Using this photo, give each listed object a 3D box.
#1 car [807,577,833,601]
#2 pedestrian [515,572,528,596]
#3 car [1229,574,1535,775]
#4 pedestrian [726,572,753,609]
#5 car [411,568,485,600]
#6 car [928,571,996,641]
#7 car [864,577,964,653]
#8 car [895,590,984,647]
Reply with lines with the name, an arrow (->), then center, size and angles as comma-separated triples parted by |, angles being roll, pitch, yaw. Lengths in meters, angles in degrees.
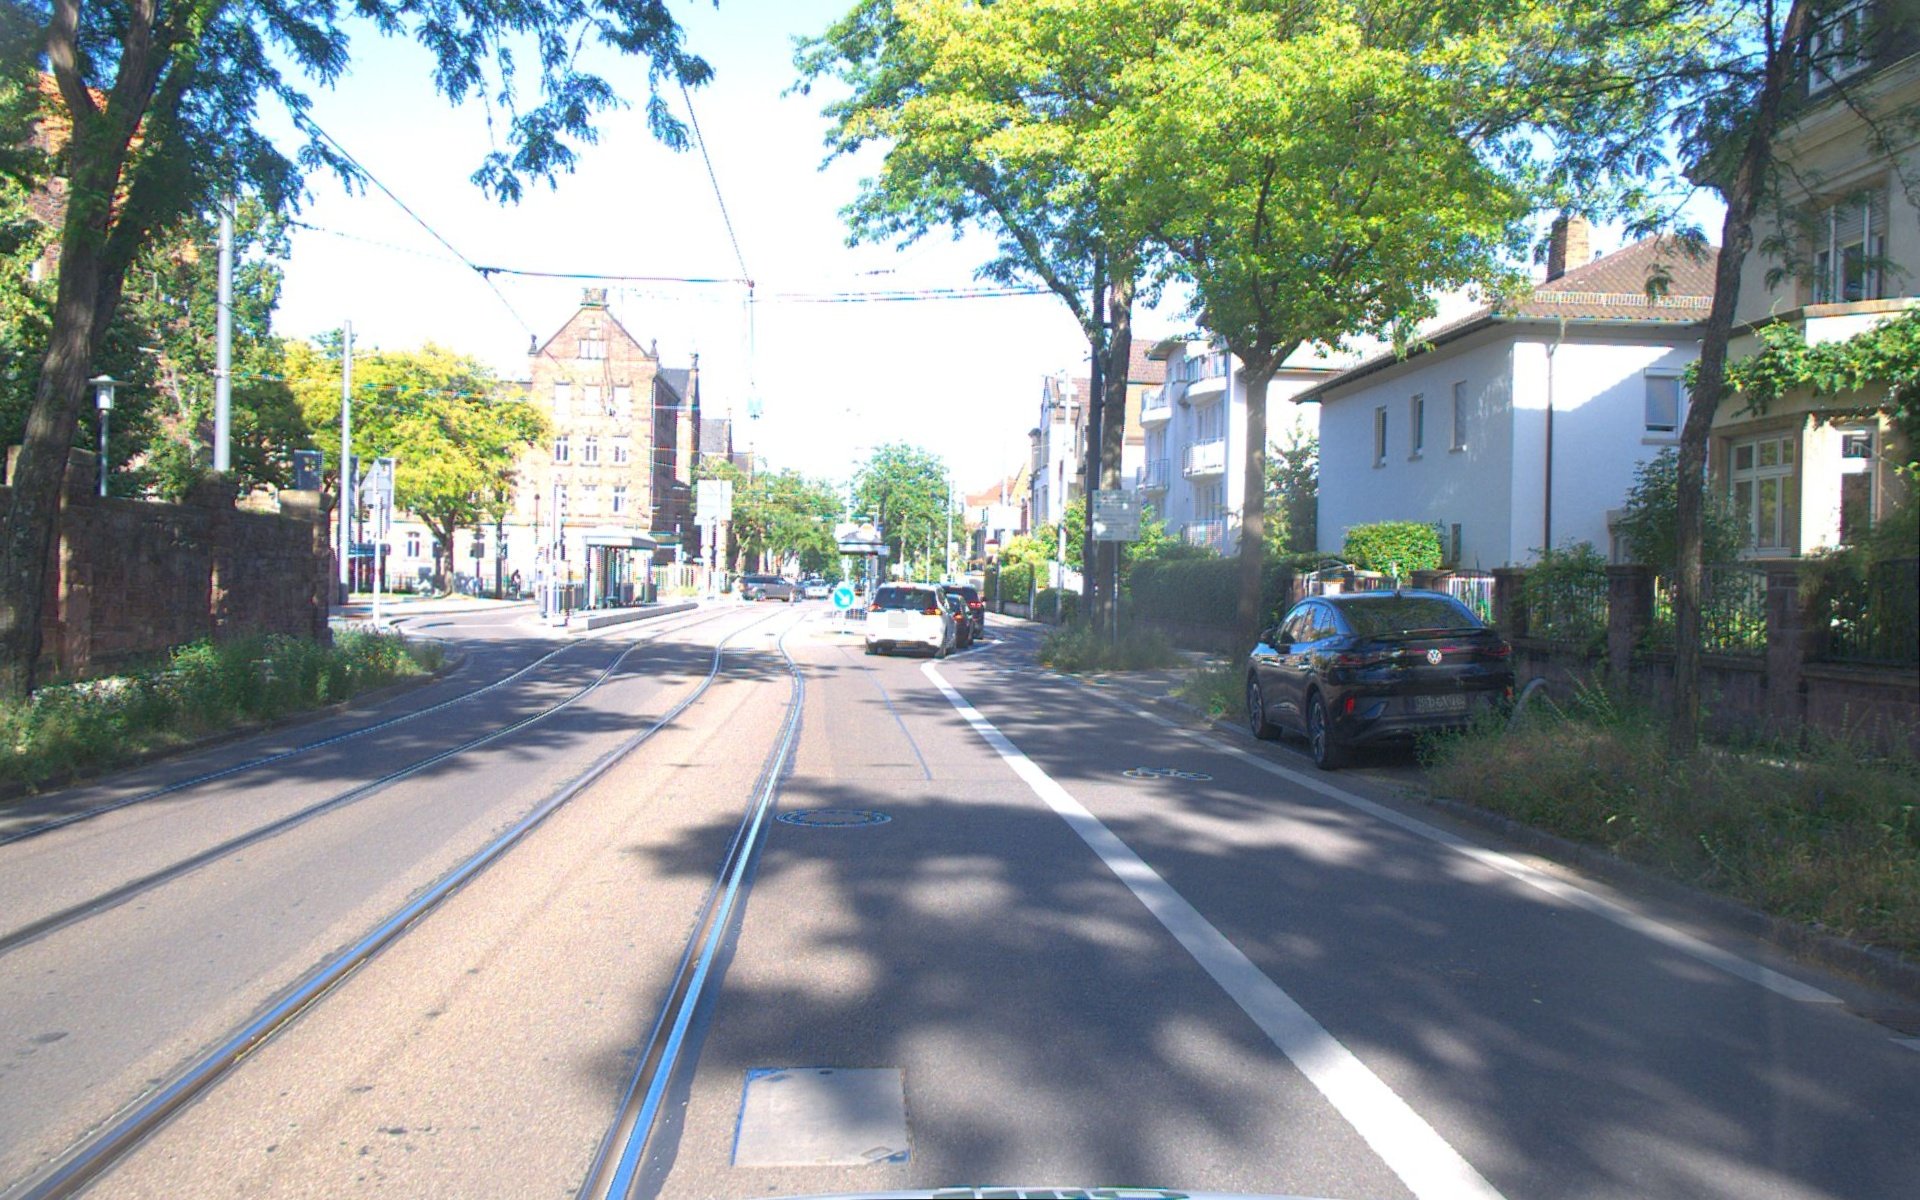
car -> -11.630, -0.927, 137.704 | 1.953, 1.947, 3.998 | 1, 0, -2
pedestrian -> -24.246, -0.883, 91.473 | 0.547, 1.281, 0.530 | 1, 0, -4
car -> 4.184, 0.645, 17.227 | 1.768, 1.723, 4.727 | -2, 0, -2
pedestrian -> -12.164, -0.522, 91.235 | 1.131, 2.049, 1.120 | 1, 0, 16
car -> -30.996, -0.954, 100.189 | 3.912, 1.821, 1.997 | 1, 0, -8
car -> 0.101, 0.167, 51.218 | 1.672, 2.049, 3.909 | 1, 0, 6
car -> -1.009, 0.375, 38.436 | 1.853, 1.639, 4.230 | 1, -1, 4
car -> -0.508, 0.470, 45.063 | 1.951, 1.467, 4.003 | 1, 0, 6
